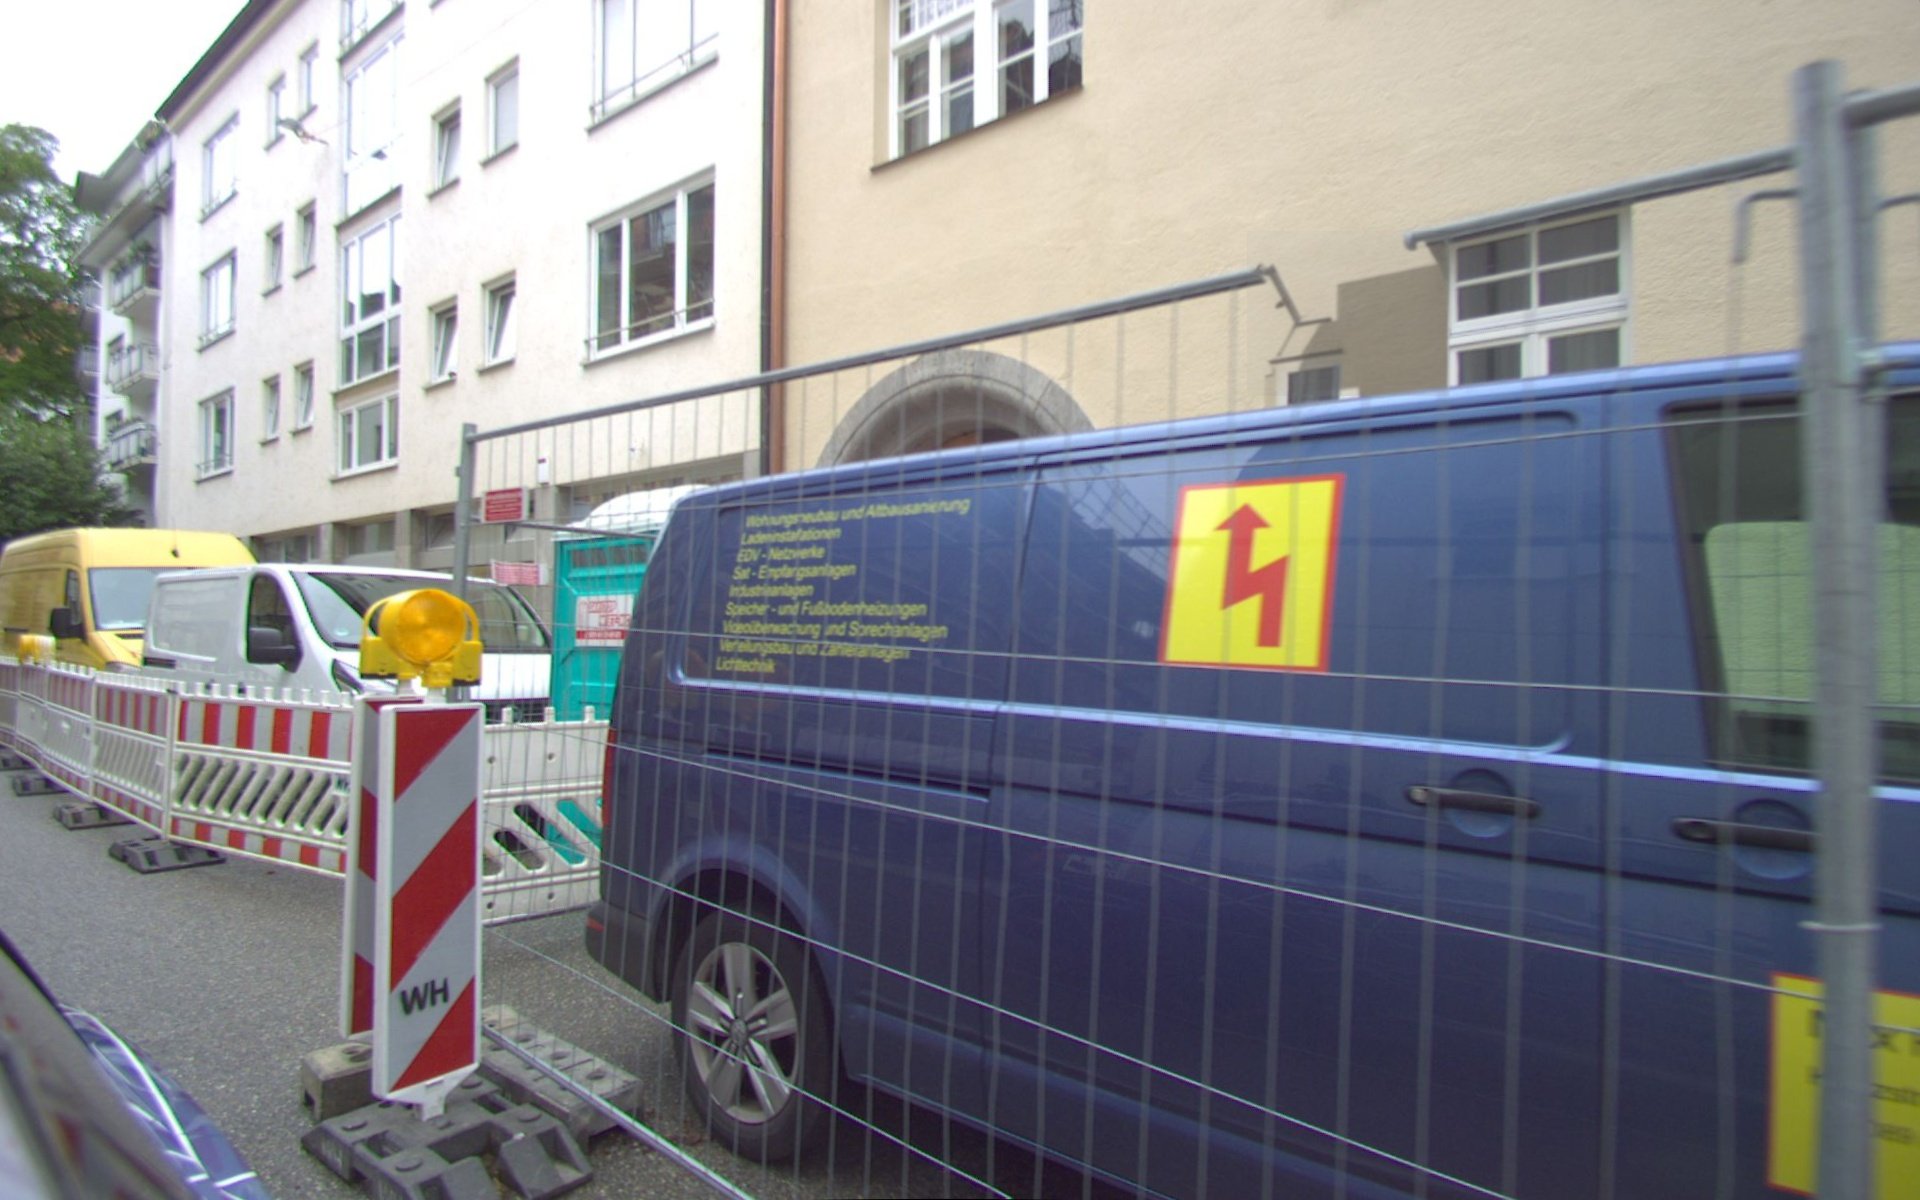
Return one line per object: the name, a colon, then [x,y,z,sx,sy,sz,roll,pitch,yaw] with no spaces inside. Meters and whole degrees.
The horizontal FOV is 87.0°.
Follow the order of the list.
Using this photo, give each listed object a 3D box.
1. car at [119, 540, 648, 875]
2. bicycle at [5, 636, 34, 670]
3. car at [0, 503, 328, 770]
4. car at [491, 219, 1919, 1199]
car: [-4.744,0.695,8.024,4.783,1.912,1.899,-1,-4,38]
bicycle: [-29.368,1.646,31.596,1.815,0.986,0.439,0,2,41]
car: [-10.417,0.440,12.766,6.728,2.598,1.974,-1,-3,38]
car: [1.128,0.538,2.344,5.502,1.912,1.710,-1,-4,39]
